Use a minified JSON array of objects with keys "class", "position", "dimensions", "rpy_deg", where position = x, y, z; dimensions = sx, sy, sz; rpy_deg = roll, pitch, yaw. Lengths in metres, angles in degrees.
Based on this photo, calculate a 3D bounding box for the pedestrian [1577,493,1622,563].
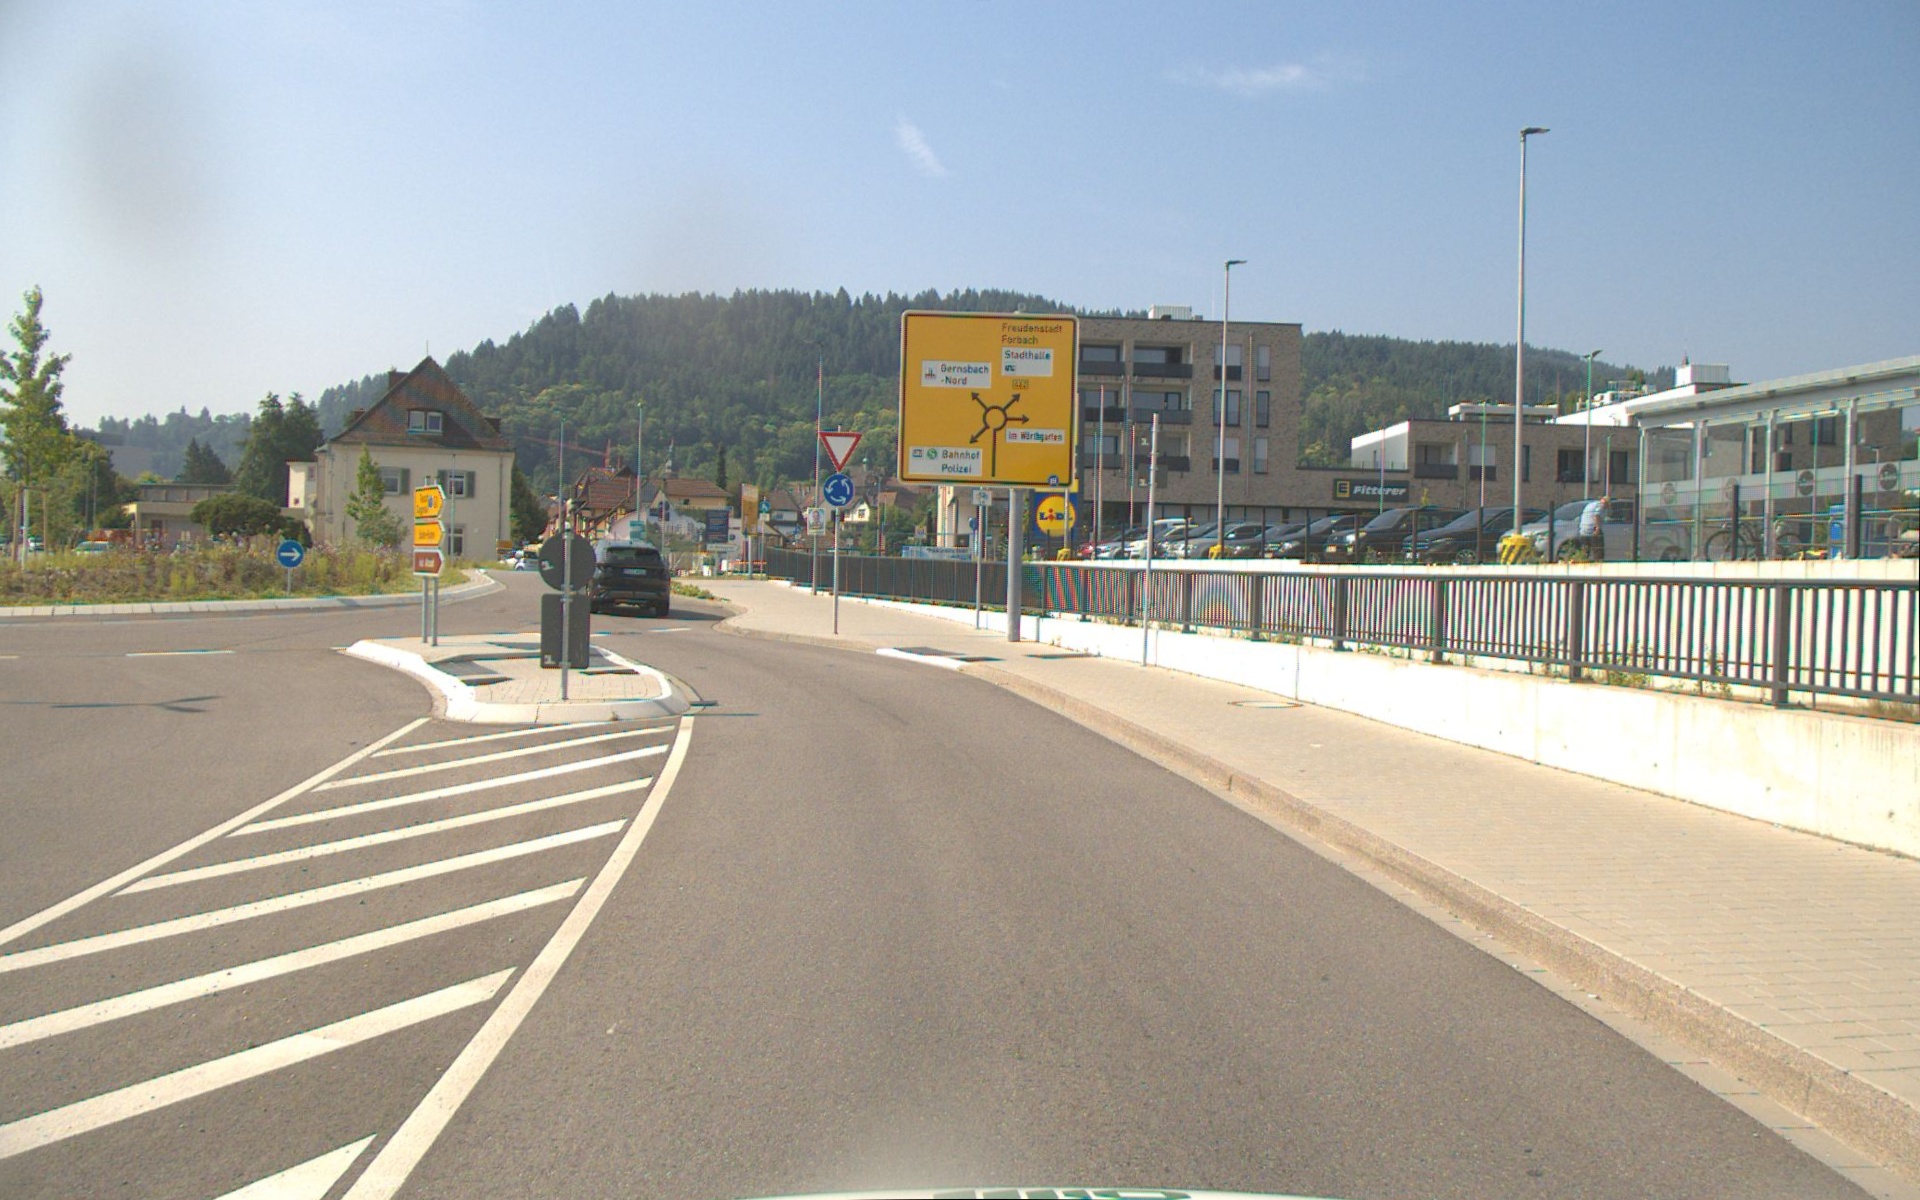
[{"class":"pedestrian","position":[12.491,-1.397,32.317],"dimensions":[0.538,1.335,0.654],"rpy_deg":[1,0,-14]}]

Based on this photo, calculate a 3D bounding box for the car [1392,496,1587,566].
[{"class":"car","position":[11.794,-1.519,36.874],"dimensions":[3.996,1.428,1.479],"rpy_deg":[1,1,-17]}]

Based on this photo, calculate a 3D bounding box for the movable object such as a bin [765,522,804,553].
[{"class":"movable object such as a bin","position":[-10.866,-3.857,102.418],"dimensions":[2.397,1.876,1.426],"rpy_deg":[0,0,-7]}]

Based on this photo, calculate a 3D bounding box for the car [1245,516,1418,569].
[{"class":"car","position":[9.826,-1.518,43.776],"dimensions":[4.145,1.267,1.736],"rpy_deg":[1,1,-17]}]

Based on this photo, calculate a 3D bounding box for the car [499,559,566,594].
[{"class":"car","position":[-25.118,-1.371,97.341],"dimensions":[1.952,2.049,4.001],"rpy_deg":[0,0,19]}]

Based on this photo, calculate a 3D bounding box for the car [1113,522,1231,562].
[{"class":"car","position":[7.022,-1.922,54.883],"dimensions":[3.498,1.220,1.707],"rpy_deg":[1,1,-16]}]

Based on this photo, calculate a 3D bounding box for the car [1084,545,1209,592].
[{"class":"car","position":[6.475,-1.103,57.637],"dimensions":[3.987,1.513,1.711],"rpy_deg":[1,1,-14]}]

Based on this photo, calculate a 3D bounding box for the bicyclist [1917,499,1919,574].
[{"class":"bicyclist","position":[18.951,-1.231,31.914],"dimensions":[0.424,1.447,0.719],"rpy_deg":[0,0,-21]}]

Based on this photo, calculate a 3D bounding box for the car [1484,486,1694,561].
[{"class":"car","position":[12.798,-1.531,33.696],"dimensions":[3.744,1.388,1.673],"rpy_deg":[1,1,-17]}]

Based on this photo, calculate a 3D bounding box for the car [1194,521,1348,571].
[{"class":"car","position":[8.752,-1.511,46.634],"dimensions":[3.902,1.267,1.722],"rpy_deg":[1,1,-17]}]

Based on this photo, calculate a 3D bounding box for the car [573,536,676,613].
[{"class":"car","position":[-7.908,-0.579,38.747],"dimensions":[1.853,1.713,3.978],"rpy_deg":[0,0,-19]}]

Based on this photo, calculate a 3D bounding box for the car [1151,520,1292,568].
[{"class":"car","position":[8.094,-1.712,51.260],"dimensions":[3.971,1.366,1.653],"rpy_deg":[1,1,-16]}]

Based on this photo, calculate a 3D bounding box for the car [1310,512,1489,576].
[{"class":"car","position":[10.753,-1.356,40.517],"dimensions":[3.940,1.428,1.717],"rpy_deg":[1,1,-17]}]

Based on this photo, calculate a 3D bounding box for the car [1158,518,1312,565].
[{"class":"car","position":[8.168,-1.723,49.180],"dimensions":[4.209,1.267,1.657],"rpy_deg":[1,1,-17]}]

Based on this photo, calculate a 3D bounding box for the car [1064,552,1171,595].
[{"class":"car","position":[5.719,-0.975,60.191],"dimensions":[3.498,1.455,1.704],"rpy_deg":[1,1,-16]}]

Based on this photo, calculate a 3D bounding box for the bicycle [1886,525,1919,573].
[{"class":"bicycle","position":[18.728,-1.000,32.584],"dimensions":[0.525,0.916,0.674],"rpy_deg":[0,0,-21]}]

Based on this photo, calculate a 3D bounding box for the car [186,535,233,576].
[{"class":"car","position":[-39.341,-2.343,86.750],"dimensions":[1.782,2.048,3.980],"rpy_deg":[0,2,-18]}]

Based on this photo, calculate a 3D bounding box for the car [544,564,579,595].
[{"class":"car","position":[-27.600,-1.400,114.441],"dimensions":[1.963,2.049,3.978],"rpy_deg":[0,0,-19]}]

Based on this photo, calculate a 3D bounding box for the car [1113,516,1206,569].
[{"class":"car","position":[8.474,-2.426,70.520],"dimensions":[3.902,2.173,2.001],"rpy_deg":[0,0,5]}]
